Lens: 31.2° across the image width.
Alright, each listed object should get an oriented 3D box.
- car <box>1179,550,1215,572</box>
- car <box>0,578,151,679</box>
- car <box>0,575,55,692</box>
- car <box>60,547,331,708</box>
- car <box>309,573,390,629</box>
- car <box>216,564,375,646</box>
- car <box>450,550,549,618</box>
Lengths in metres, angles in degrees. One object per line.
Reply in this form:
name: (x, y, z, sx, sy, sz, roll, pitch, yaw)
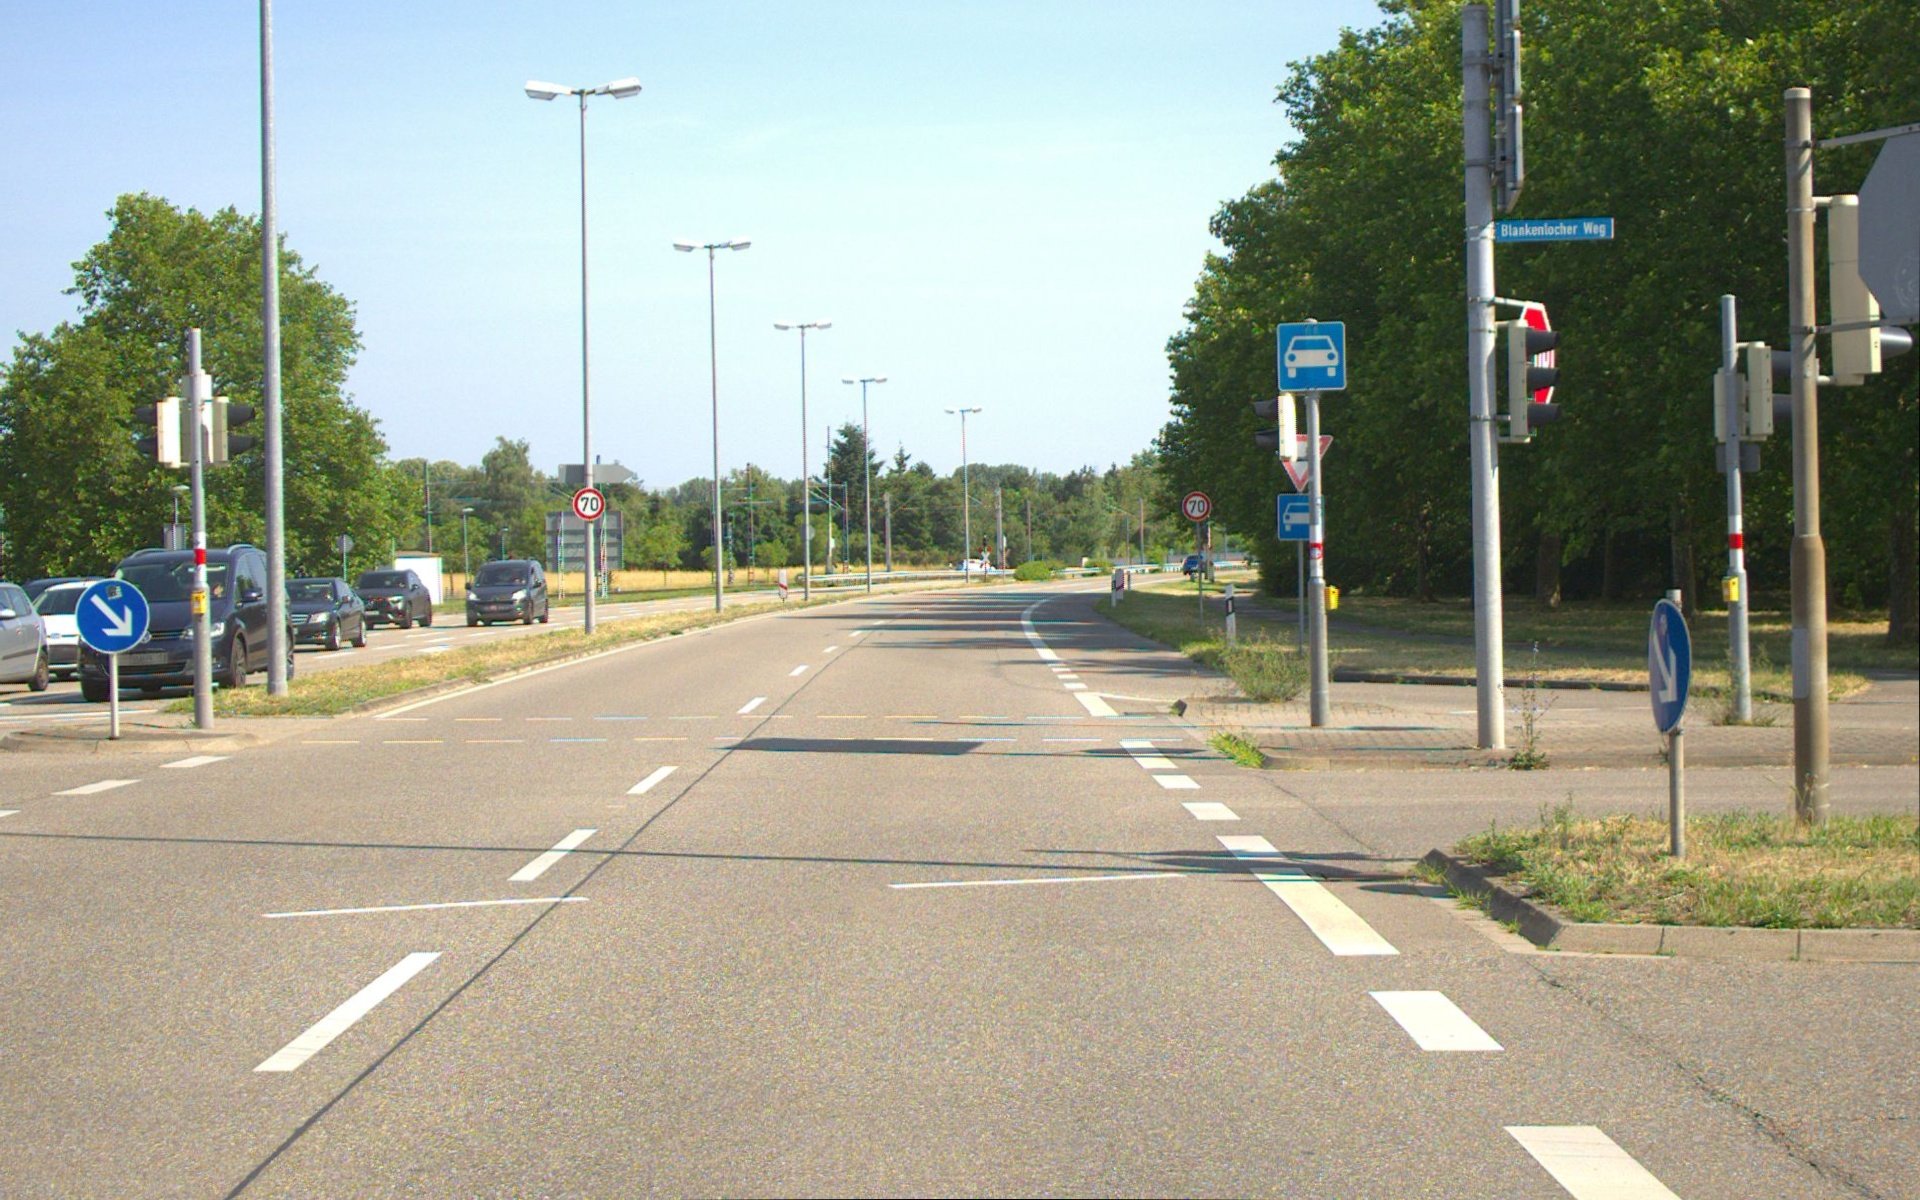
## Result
car: (16.266, -2.667, 235.657, 1.982, 1.452, 4.116, -2, 1, 10)
car: (-13.463, 0.401, 51.051, 1.829, 1.381, 3.843, -1, 1, 2)
car: (-12.802, 0.431, 43.635, 1.619, 1.452, 3.872, -1, 1, -1)
car: (-8.882, 0.280, 40.342, 1.981, 1.744, 4.507, -1, 1, 2)
car: (-16.895, 0.006, 95.306, 1.981, 1.452, 4.230, -1, 1, -8)
car: (-12.630, 0.071, 65.603, 1.981, 1.452, 4.450, -1, 1, 2)
car: (-12.493, -0.460, 93.546, 1.981, 1.773, 4.489, -1, 1, 1)
